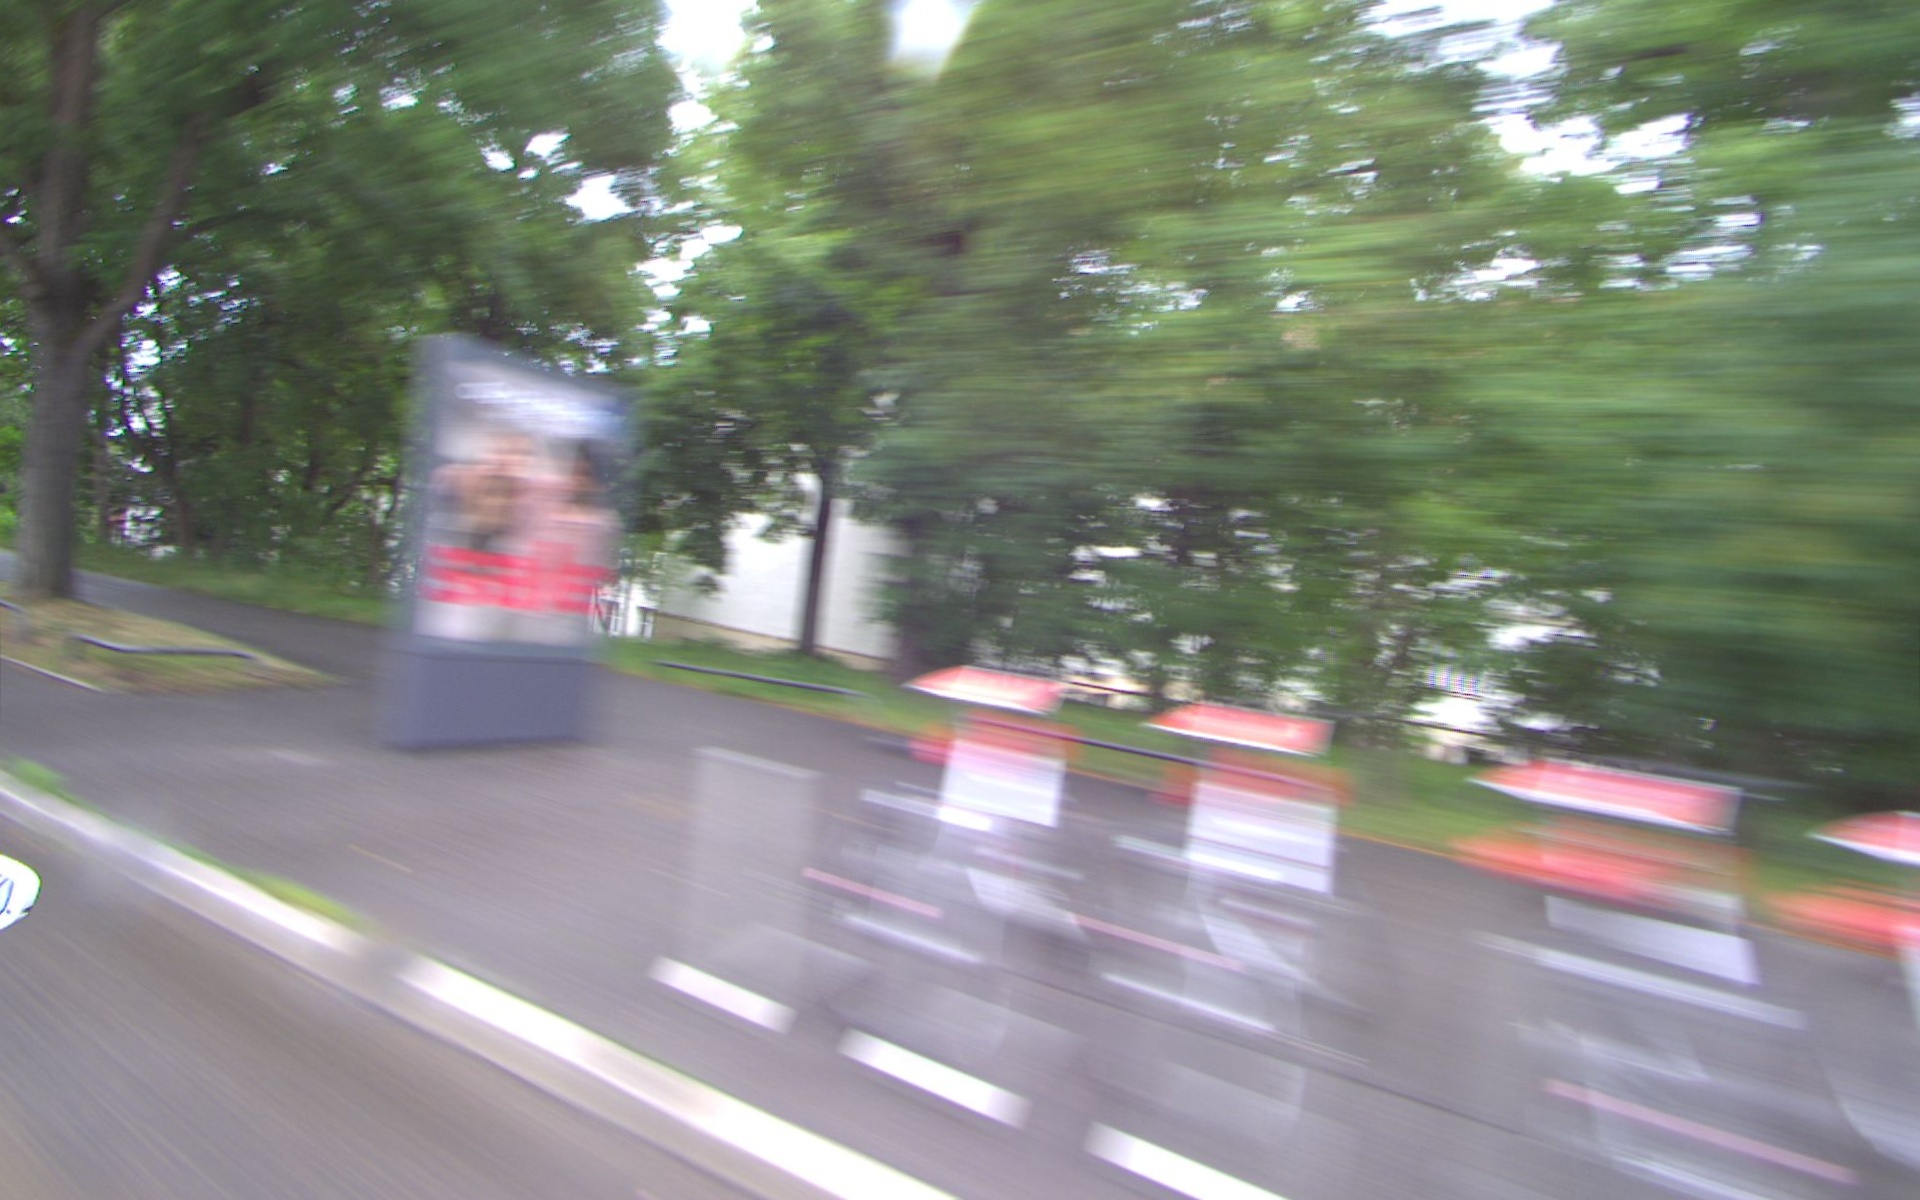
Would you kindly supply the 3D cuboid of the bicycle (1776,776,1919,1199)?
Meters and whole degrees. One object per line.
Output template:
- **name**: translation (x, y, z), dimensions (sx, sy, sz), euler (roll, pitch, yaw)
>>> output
- **bicycle**: translation (2.567, 1.131, 2.410), dimensions (0.547, 1.146, 1.487), euler (7, 2, 27)

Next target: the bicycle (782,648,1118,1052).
- **bicycle**: translation (0.047, 0.795, 3.818), dimensions (0.547, 1.146, 1.487), euler (7, 2, 27)

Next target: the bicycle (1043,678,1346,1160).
- **bicycle**: translation (0.873, 0.902, 3.418), dimensions (0.547, 1.146, 1.487), euler (7, 2, 27)

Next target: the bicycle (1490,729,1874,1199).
- **bicycle**: translation (1.857, 1.033, 2.804), dimensions (0.547, 1.146, 1.487), euler (7, 2, 27)
